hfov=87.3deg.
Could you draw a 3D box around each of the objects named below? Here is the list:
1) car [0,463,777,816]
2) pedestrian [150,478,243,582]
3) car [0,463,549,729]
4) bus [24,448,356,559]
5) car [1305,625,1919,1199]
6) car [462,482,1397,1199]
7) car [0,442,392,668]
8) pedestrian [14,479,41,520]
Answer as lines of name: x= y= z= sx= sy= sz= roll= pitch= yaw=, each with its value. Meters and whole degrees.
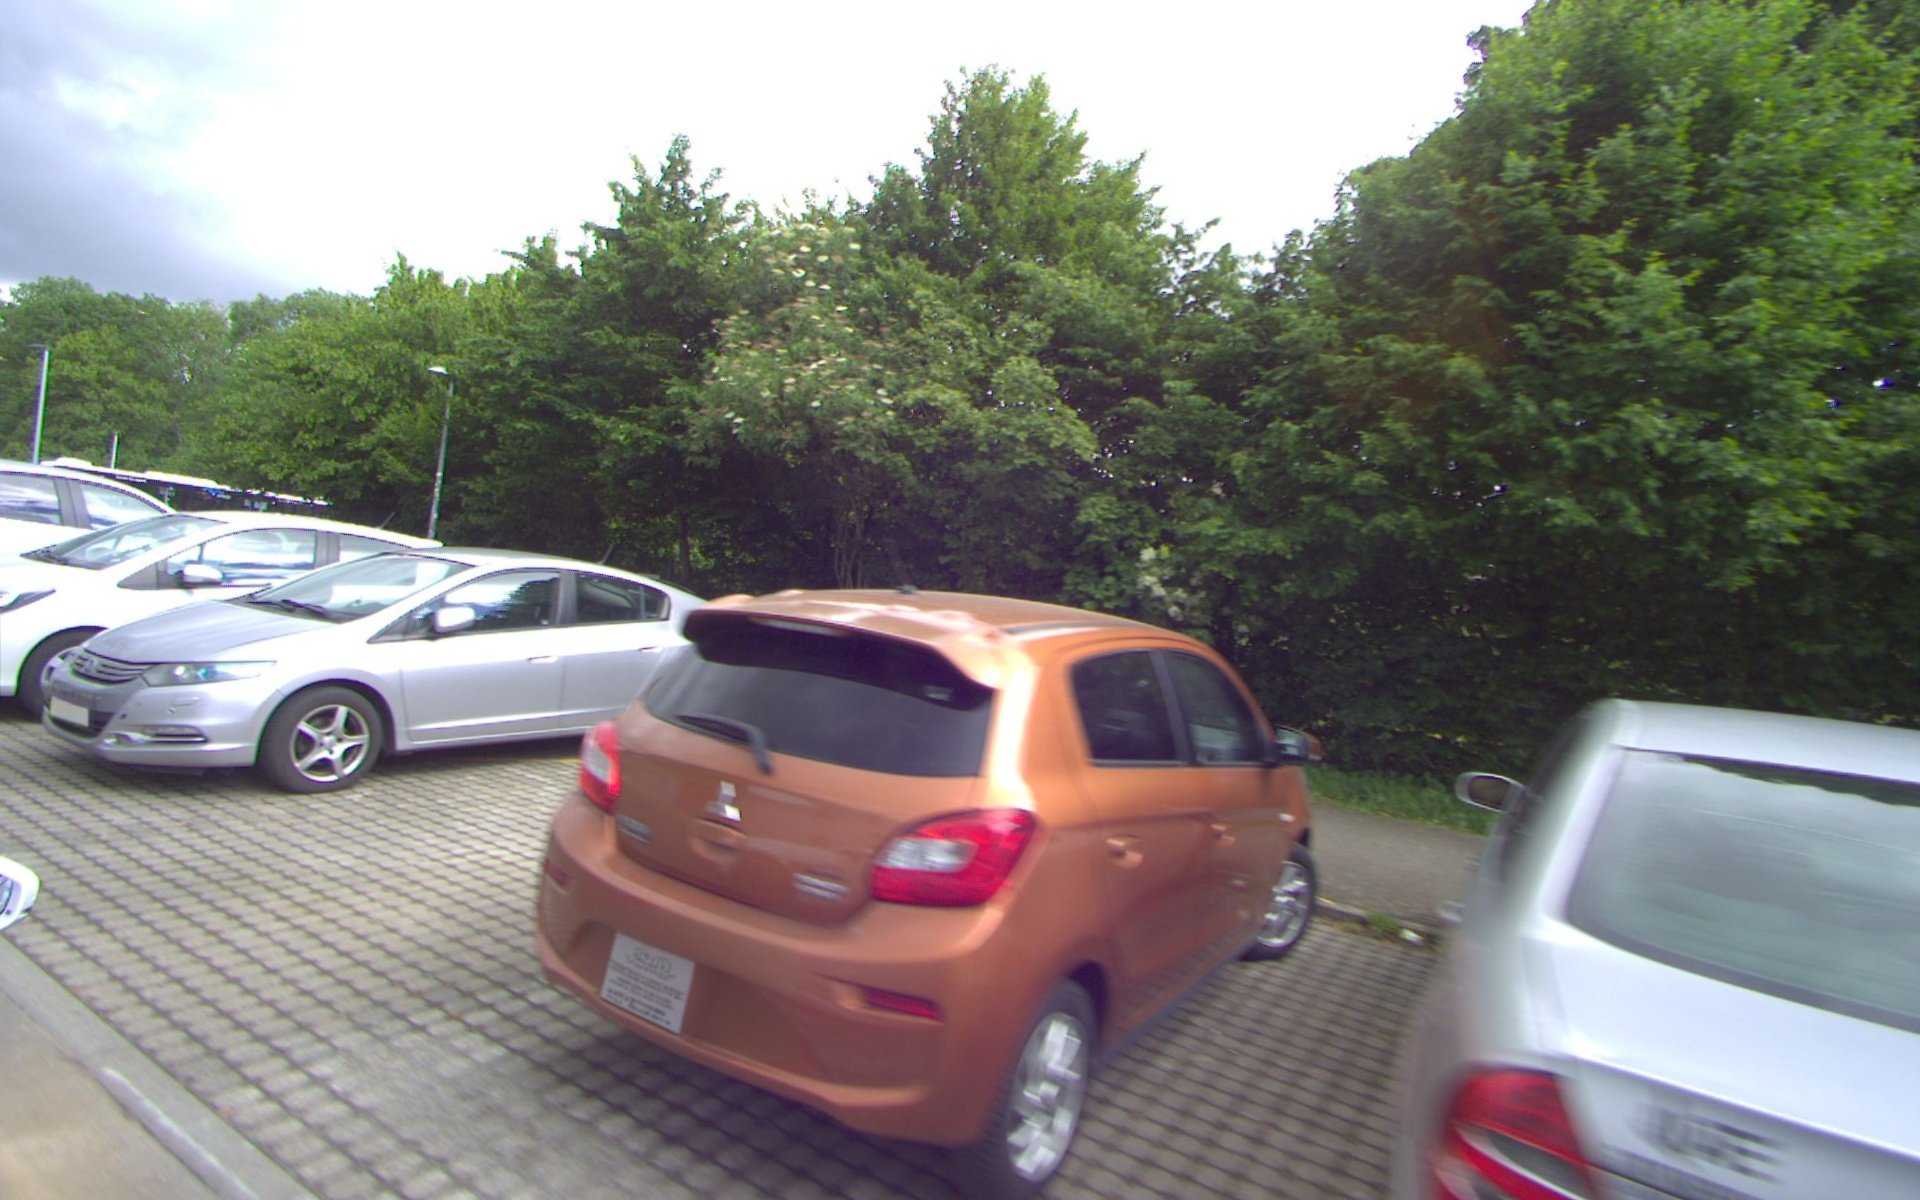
car: x=-3.539 y=0.231 z=7.102 sx=1.879 sy=1.582 sz=4.482 roll=7 pitch=1 yaw=29
pedestrian: x=-14.937 y=-1.350 z=19.713 sx=0.841 sy=1.844 sz=0.985 roll=7 pitch=0 yaw=6
car: x=-5.693 y=0.005 z=8.032 sx=1.765 sy=1.605 sz=4.162 roll=7 pitch=0 yaw=29
bus: x=-36.017 y=-4.373 z=47.795 sx=2.640 sy=3.242 sz=12.130 roll=7 pitch=0 yaw=44
car: x=2.326 y=0.986 z=2.671 sx=1.911 sy=1.453 sz=4.402 roll=7 pitch=0 yaw=30
car: x=0.461 y=0.689 z=4.152 sx=1.650 sy=1.611 sz=4.150 roll=7 pitch=0 yaw=33
car: x=-8.054 y=-0.421 z=9.078 sx=2.034 sy=1.775 sz=4.655 roll=7 pitch=1 yaw=27
pedestrian: x=-42.934 y=-4.604 z=46.319 sx=0.717 sy=1.769 sz=0.946 roll=7 pitch=0 yaw=-40
